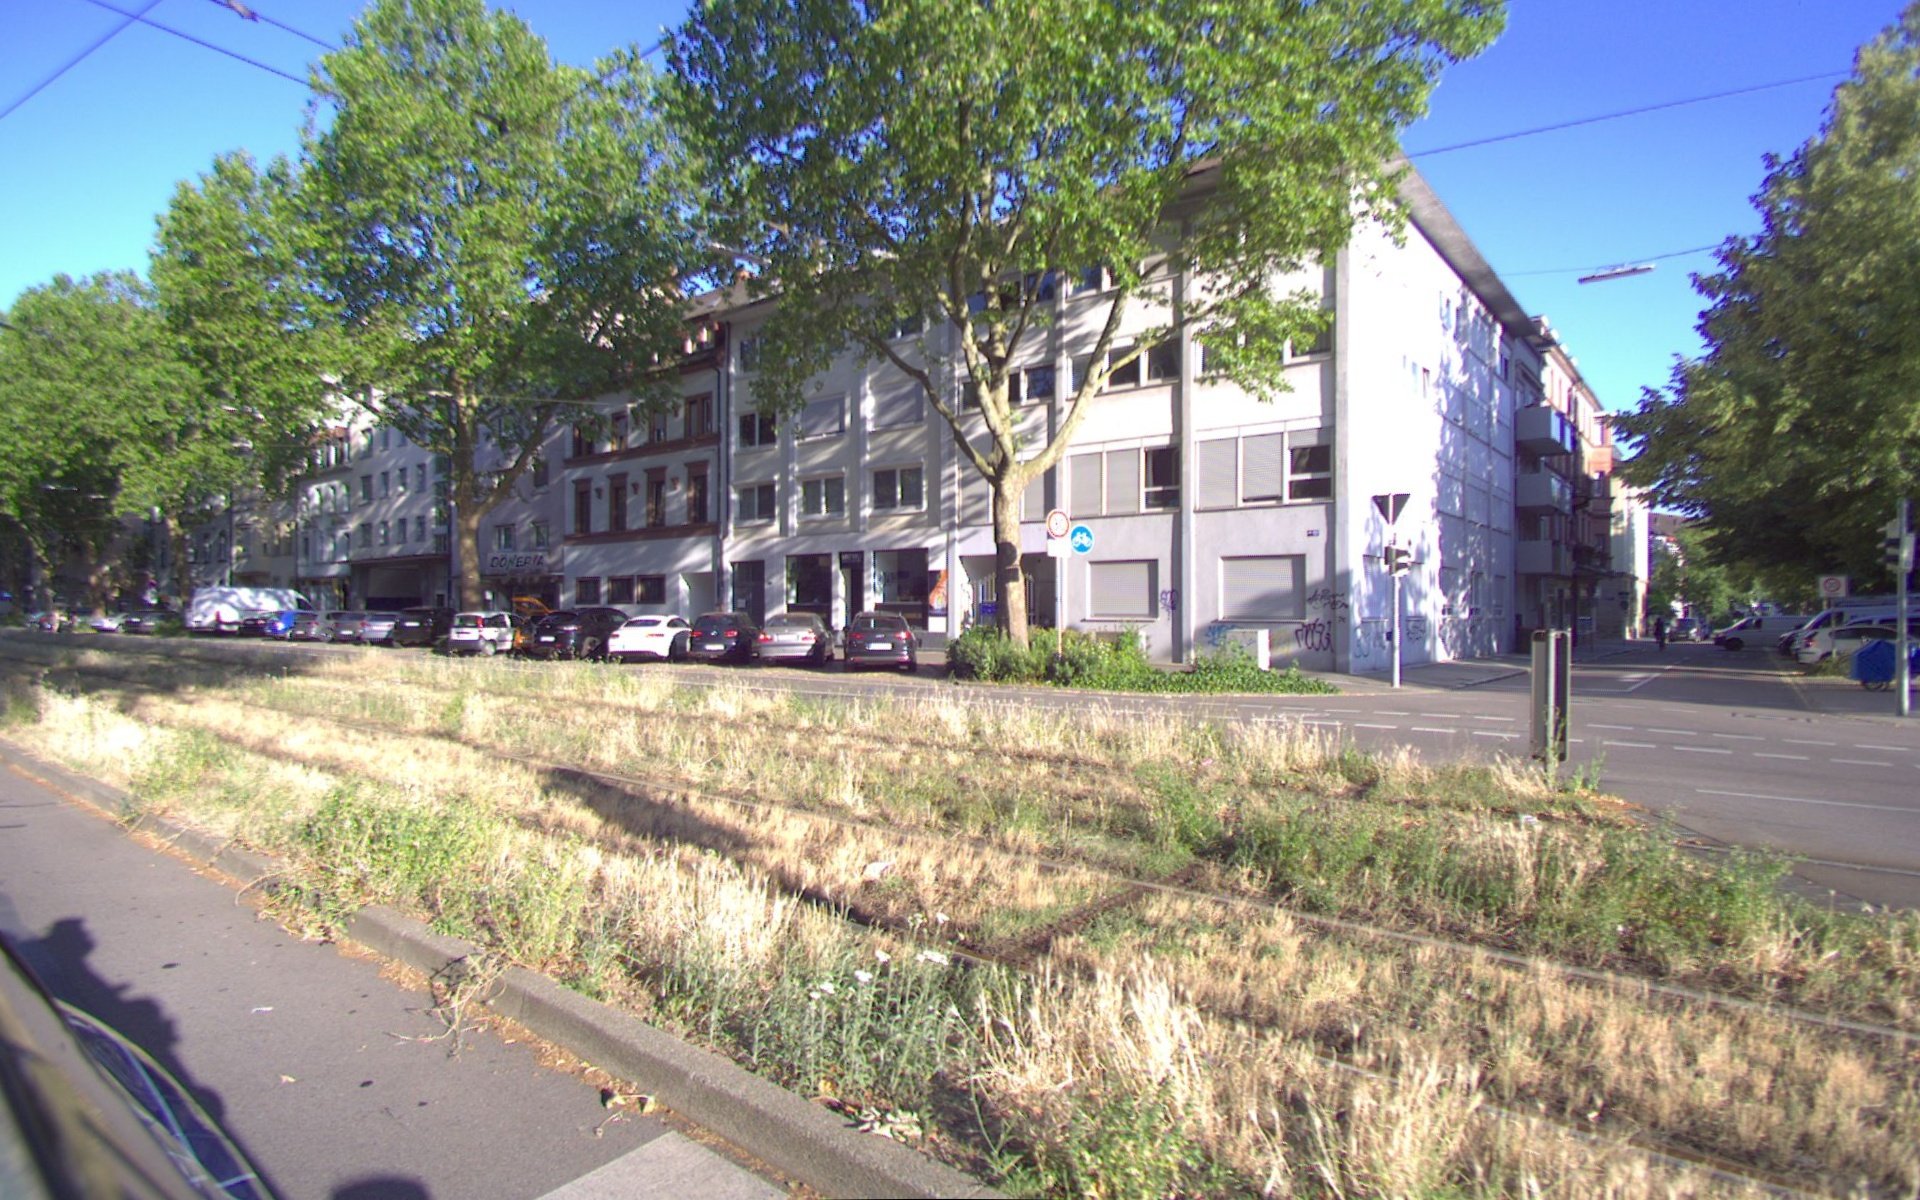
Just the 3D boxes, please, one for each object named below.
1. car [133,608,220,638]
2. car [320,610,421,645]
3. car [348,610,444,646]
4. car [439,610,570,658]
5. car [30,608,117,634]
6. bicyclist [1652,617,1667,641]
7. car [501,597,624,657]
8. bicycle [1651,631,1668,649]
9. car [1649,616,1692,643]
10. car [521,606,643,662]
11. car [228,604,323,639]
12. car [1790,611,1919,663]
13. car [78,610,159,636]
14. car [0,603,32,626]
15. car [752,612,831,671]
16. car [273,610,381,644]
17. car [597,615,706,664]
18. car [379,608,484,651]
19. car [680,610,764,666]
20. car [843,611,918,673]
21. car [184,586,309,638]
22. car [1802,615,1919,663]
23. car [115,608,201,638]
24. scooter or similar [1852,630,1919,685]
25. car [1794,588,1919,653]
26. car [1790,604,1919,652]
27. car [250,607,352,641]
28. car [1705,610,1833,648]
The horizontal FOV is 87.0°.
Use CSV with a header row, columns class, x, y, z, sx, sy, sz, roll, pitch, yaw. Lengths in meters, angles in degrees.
class,x,y,z,sx,sy,sz,roll,pitch,yaw
car,-48.872,1.419,63.192,1.979,1.829,3.985,0,-1,12
car,-26.314,1.189,45.343,1.882,1.468,4.253,0,-1,3
car,-23.917,1.162,43.097,1.581,1.470,4.253,0,-1,3
car,-15.870,1.142,35.497,1.633,1.569,4.224,0,-1,23
car,-61.293,1.423,70.012,1.995,1.719,4.186,0,-1,35
bicyclist,39.731,1.625,57.489,0.632,1.341,0.956,-1,-1,39
car,-13.879,0.916,35.568,1.507,1.958,4.224,0,-1,23
bicycle,39.721,2.260,57.450,0.632,0.987,1.963,-1,-1,39
car,55.875,2.256,79.683,1.990,2.029,5.374,0,-1,27
car,-12.009,1.037,32.465,2.125,1.696,4.252,0,-1,4
car,-36.796,1.137,54.505,1.979,1.829,3.985,0,-1,12
car,29.797,1.169,33.139,3.996,1.630,1.866,-1,-1,40
car,-58.337,1.561,70.216,1.979,1.719,3.985,0,-1,12
car,-95.640,1.465,100.842,2.071,2.230,4.945,0,-1,-3
car,-4.502,1.054,27.447,1.717,1.443,3.974,-1,-1,-4
car,-29.768,1.236,47.732,1.984,1.529,3.975,0,-1,18
car,-9.257,1.145,30.723,2.122,1.388,4.259,0,-1,-2
car,-21.223,1.140,40.852,1.882,1.626,4.254,0,-1,3
car,-6.895,1.058,29.674,1.804,1.515,3.974,0,-1,-4
car,-1.976,0.990,25.373,1.746,1.442,3.974,0,-1,-4
car,-39.219,0.674,55.822,2.159,2.721,5.586,0,-1,14
car,28.417,1.163,30.970,3.996,1.409,1.793,-2,-2,40
car,-51.518,1.443,65.116,1.979,1.829,3.985,0,-1,12
scooter or similar,20.436,1.192,21.269,2.445,1.135,1.082,-4,-3,40
car,36.795,0.805,40.594,5.109,2.537,1.973,-1,-1,40
car,33.146,0.978,36.676,4.705,1.674,1.974,-1,-1,40
car,-32.247,1.153,49.636,1.979,1.630,3.985,0,-1,12
car,45.042,1.558,56.524,5.410,2.029,1.977,0,-1,34
